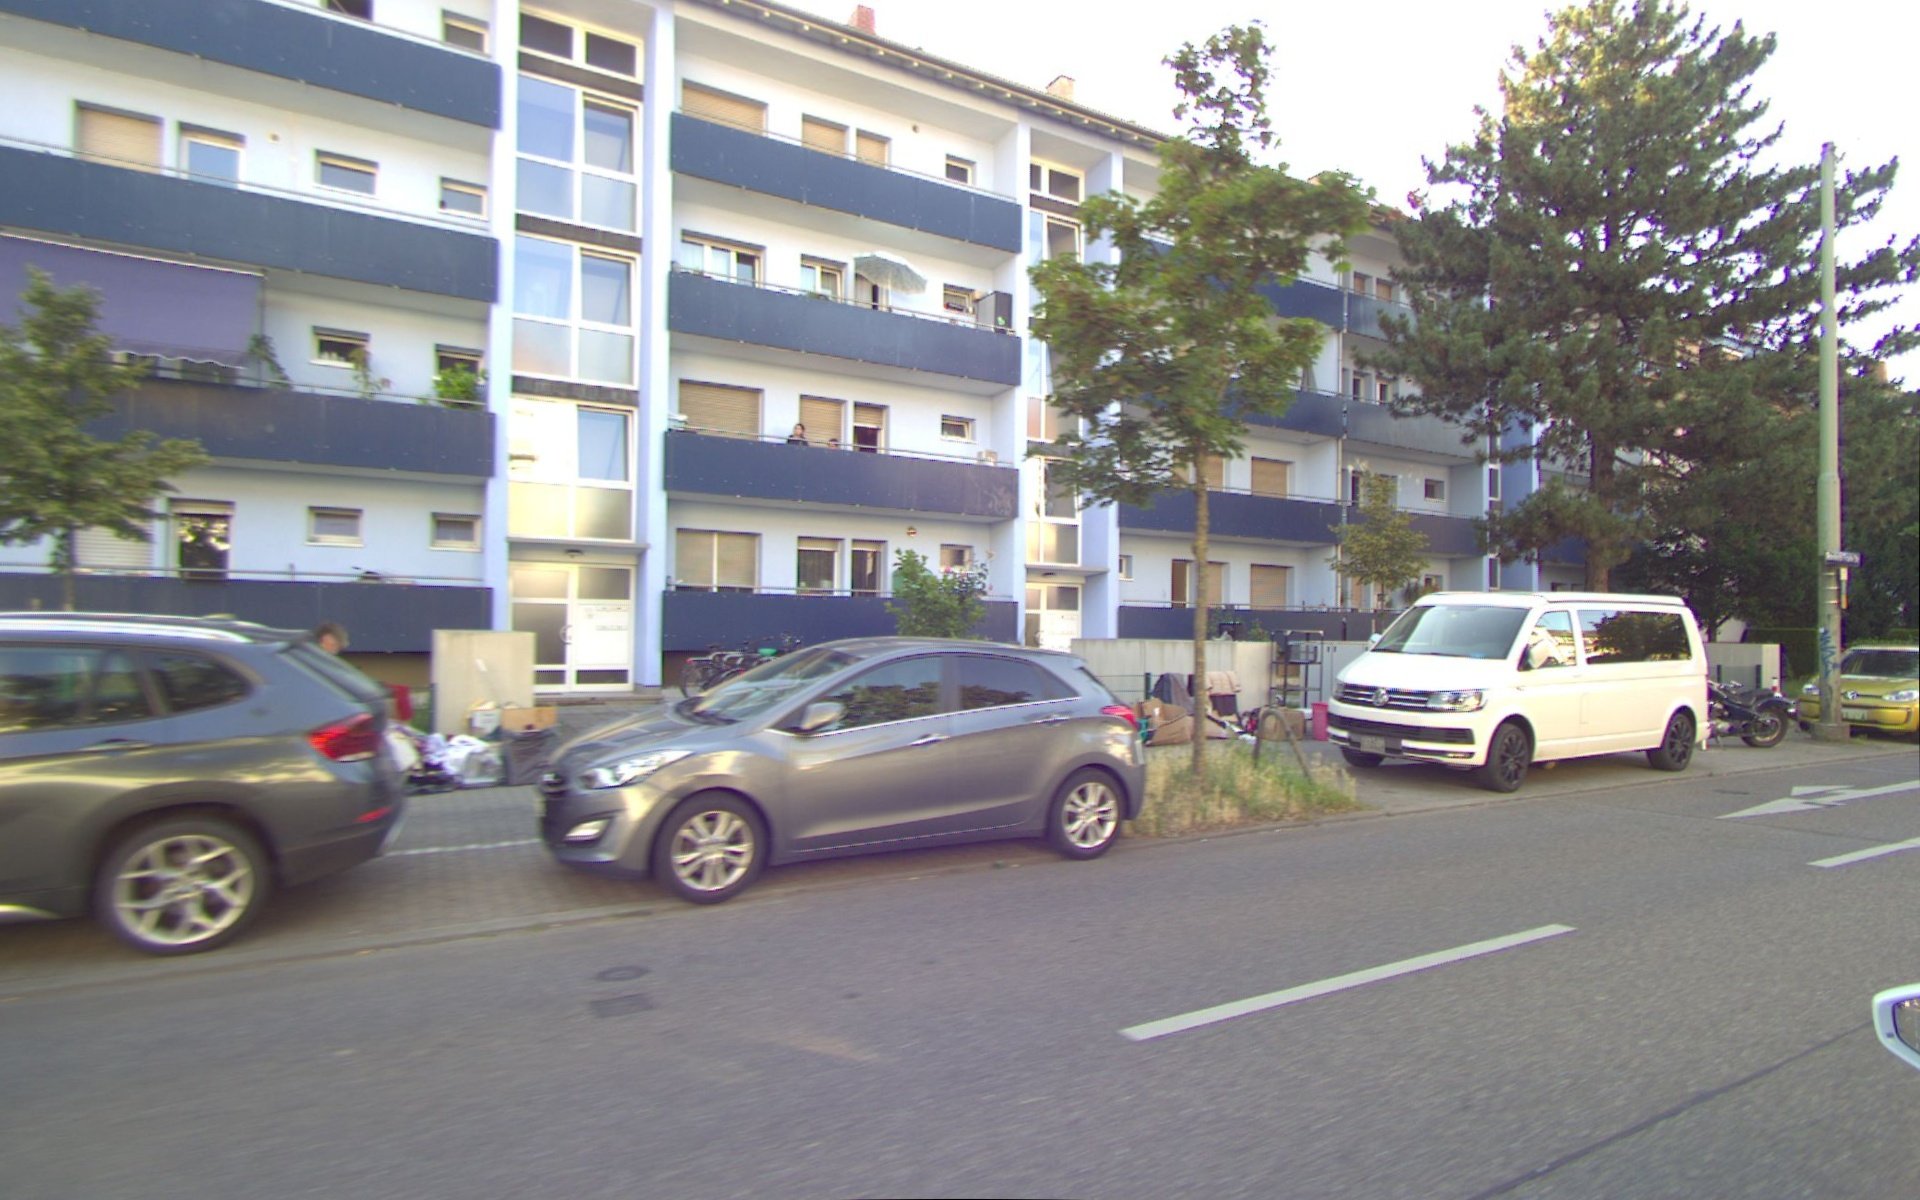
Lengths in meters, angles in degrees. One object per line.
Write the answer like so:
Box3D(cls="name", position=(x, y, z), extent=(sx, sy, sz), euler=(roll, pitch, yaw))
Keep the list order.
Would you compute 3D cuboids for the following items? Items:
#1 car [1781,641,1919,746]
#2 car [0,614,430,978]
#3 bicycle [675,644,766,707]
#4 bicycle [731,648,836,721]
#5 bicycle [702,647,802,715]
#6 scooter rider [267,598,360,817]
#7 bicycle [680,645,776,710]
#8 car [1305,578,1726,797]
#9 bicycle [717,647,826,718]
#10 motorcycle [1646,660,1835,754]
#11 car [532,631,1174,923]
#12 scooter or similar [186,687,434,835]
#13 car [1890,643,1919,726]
Box3D(cls="car", position=(15.462, 1.466, 16.567), extent=(3.823, 1.500, 1.612), euler=(2, 0, -28))
Box3D(cls="car", position=(-5.039, 0.845, 4.776), extent=(4.418, 1.563, 1.665), euler=(1, -2, -28))
Box3D(cls="bicycle", position=(-4.082, 1.272, 17.146), extent=(1.459, 1.028, 0.436), euler=(1, -2, -29))
Box3D(cls="bicycle", position=(-2.581, 1.221, 14.726), extent=(1.459, 1.028, 0.436), euler=(1, -2, -29))
Box3D(cls="bicycle", position=(-3.238, 1.246, 15.680), extent=(1.459, 1.028, 0.436), euler=(1, -2, -29))
Box3D(cls="scooter rider", position=(-5.082, 0.821, 7.922), extent=(0.527, 1.652, 0.462), euler=(1, -2, -26))
Box3D(cls="bicycle", position=(-3.773, 1.248, 16.374), extent=(1.463, 1.028, 0.436), euler=(1, -2, -29))
Box3D(cls="car", position=(6.522, 0.885, 11.587), extent=(5.239, 2.058, 1.859), euler=(2, -1, -31))
Box3D(cls="bicycle", position=(-2.831, 1.225, 15.110), extent=(1.554, 1.028, 0.436), euler=(1, -2, -29))
Box3D(cls="motorcycle", position=(10.799, 1.458, 13.923), extent=(2.289, 1.220, 0.660), euler=(0, -2, -9))
Box3D(cls="car", position=(-0.668, 0.990, 6.937), extent=(4.091, 1.503, 1.686), euler=(1, -2, -28))
Box3D(cls="scooter or similar", position=(-5.055, 1.228, 7.922), extent=(1.568, 1.028, 0.462), euler=(1, -2, -26))
Box3D(cls="car", position=(19.713, 1.624, 19.095), extent=(3.921, 1.514, 1.774), euler=(2, 0, -28))
